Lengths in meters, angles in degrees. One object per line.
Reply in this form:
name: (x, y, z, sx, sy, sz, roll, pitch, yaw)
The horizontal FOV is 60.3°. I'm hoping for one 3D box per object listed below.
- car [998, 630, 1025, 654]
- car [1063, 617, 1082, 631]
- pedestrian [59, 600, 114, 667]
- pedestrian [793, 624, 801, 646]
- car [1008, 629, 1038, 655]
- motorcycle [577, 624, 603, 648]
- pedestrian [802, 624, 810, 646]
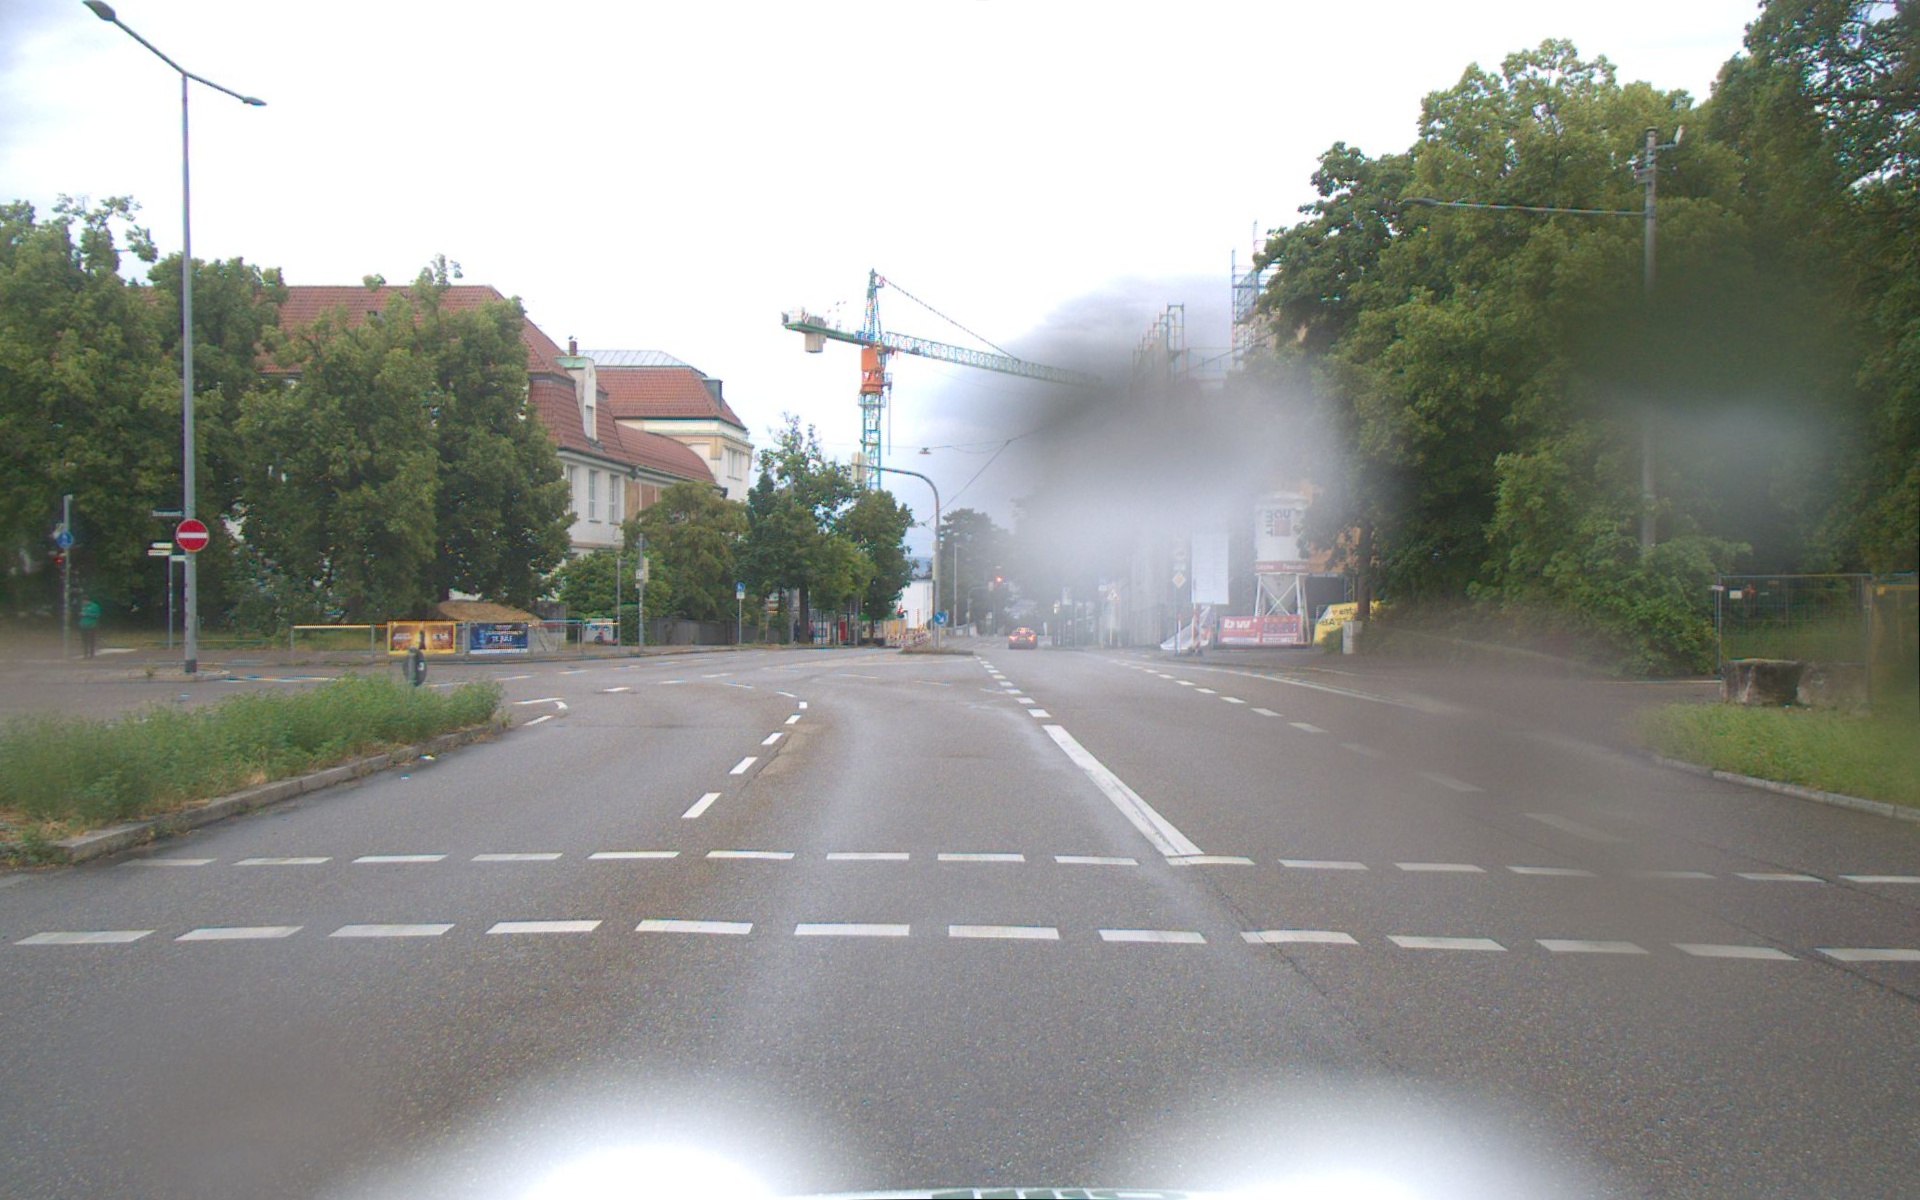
car: (4.055, 3.321, 130.987, 1.953, 1.780, 3.999, -1, 0, -1)
car: (14.941, 3.119, 219.510, 1.951, 1.780, 4.003, -1, 0, 10)
pedestrian: (-23.155, 0.885, 43.865, 0.903, 1.757, 0.946, 1, 0, 3)
pedestrian: (-10.825, 2.319, 109.735, 0.465, 1.421, 0.411, 0, 0, -1)
car: (4.665, 3.121, 123.000, 1.953, 1.780, 3.999, -1, 0, -1)
motorcycle: (-14.454, 1.410, 64.611, 0.832, 0.893, 0.877, 1, 0, -1)
pedestrian: (-10.198, 2.325, 109.709, 0.465, 1.421, 0.411, 0, 0, -1)
